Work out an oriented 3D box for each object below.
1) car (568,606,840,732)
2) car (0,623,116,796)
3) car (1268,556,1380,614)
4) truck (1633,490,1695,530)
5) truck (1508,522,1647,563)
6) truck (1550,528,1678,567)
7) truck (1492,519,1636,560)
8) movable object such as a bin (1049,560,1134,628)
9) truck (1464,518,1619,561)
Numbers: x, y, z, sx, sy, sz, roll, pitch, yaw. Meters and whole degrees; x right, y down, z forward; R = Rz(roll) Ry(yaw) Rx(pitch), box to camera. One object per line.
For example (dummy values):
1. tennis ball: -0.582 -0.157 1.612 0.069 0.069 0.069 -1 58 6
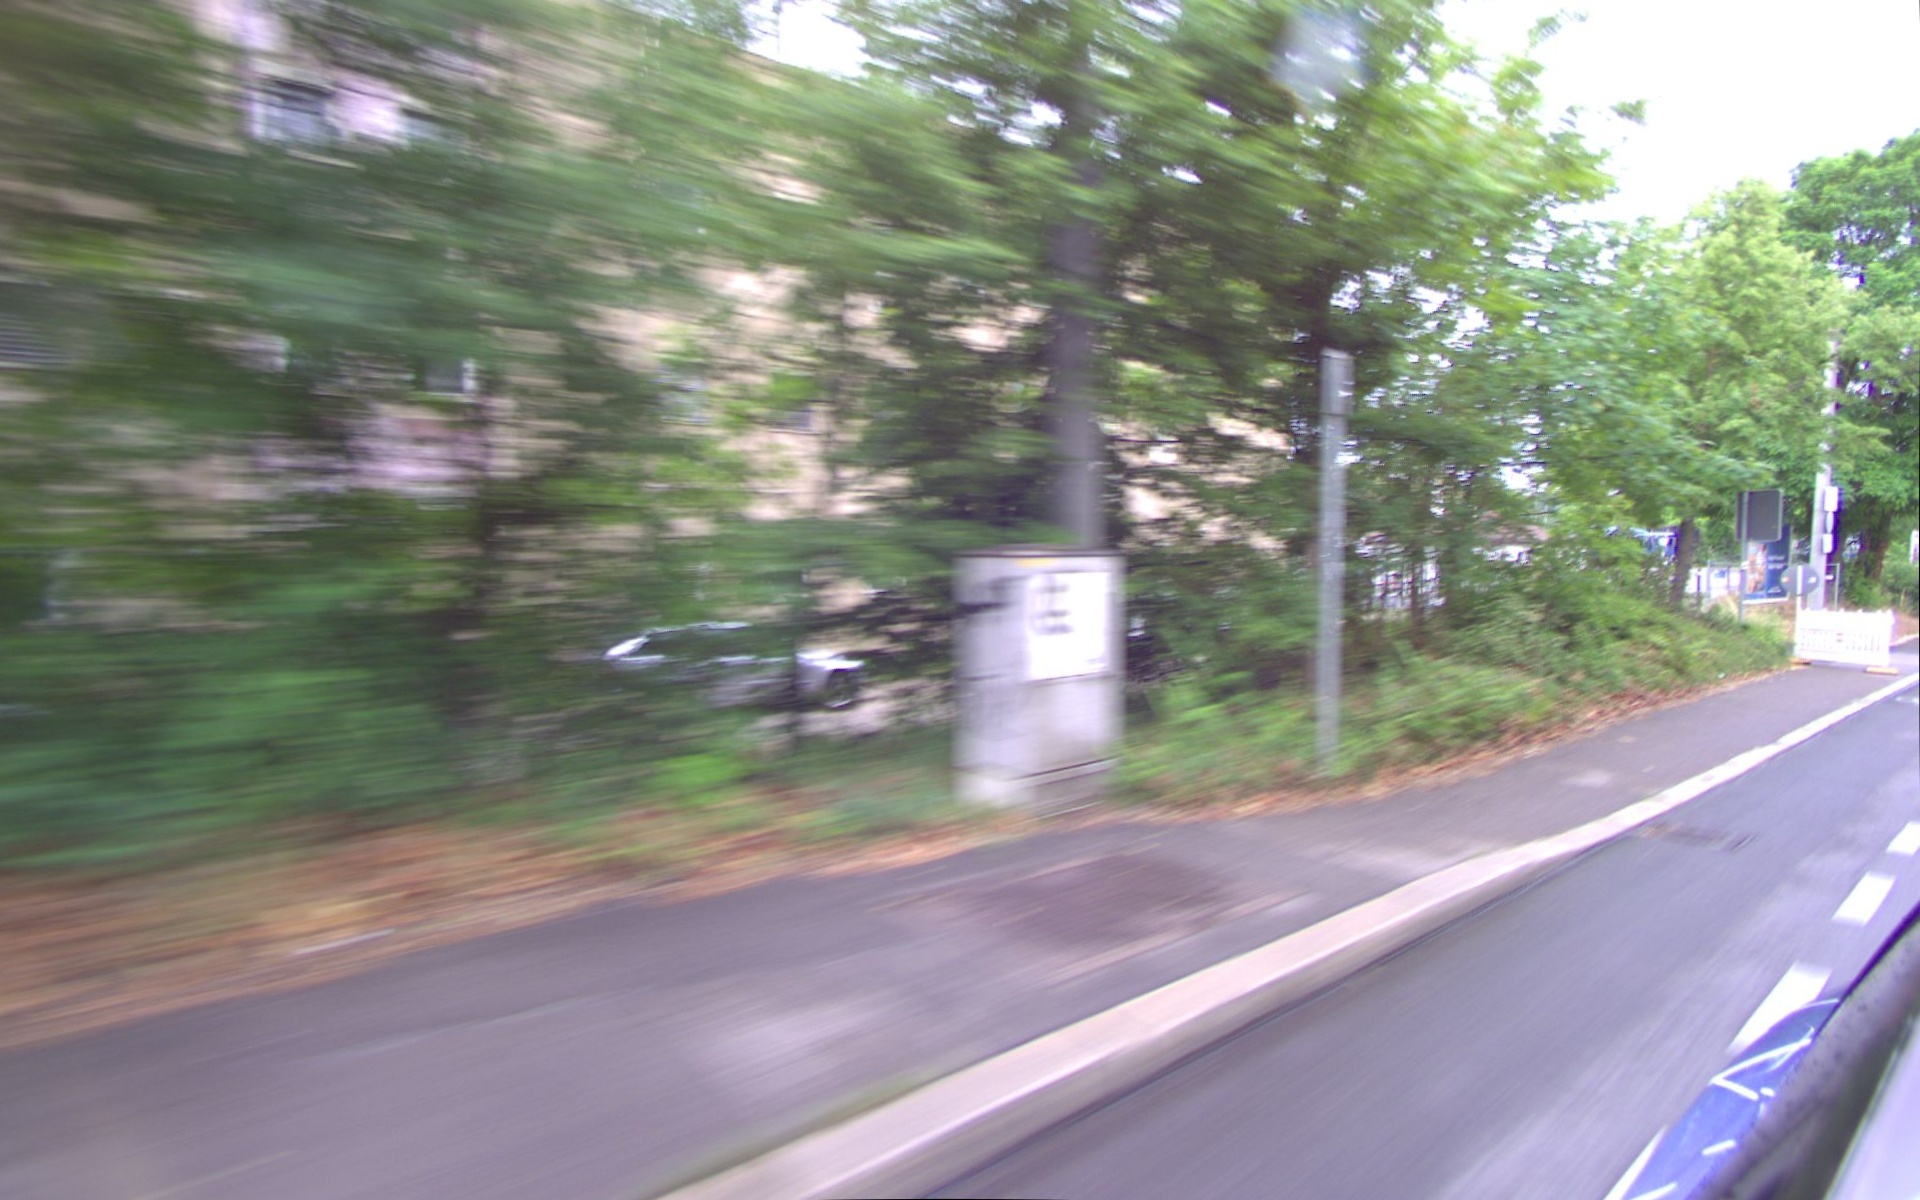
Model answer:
1. car: -3.728 0.916 15.043 3.631 1.474 1.552 -1 4 -41
2. car: -10.398 1.079 9.306 3.926 1.481 1.558 -2 4 -37
3. car: 13.153 -0.591 36.415 4.574 1.881 1.785 -3 5 -41
4. truck: 62.617 -7.916 89.934 9.475 3.235 2.255 -3 3 -41
5. truck: 43.827 -4.126 72.050 2.543 2.771 8.019 -3 5 -42
6. truck: 49.883 -4.076 77.396 2.543 2.848 7.750 -3 5 -42
7. truck: 41.223 -4.183 69.334 2.543 2.686 8.105 -3 5 -42
8. movable object such as a bin: 2.912 -0.153 22.513 1.332 1.433 1.275 0 3 -39
9. truck: 37.714 -3.971 65.928 2.543 2.648 8.312 -3 5 -42
